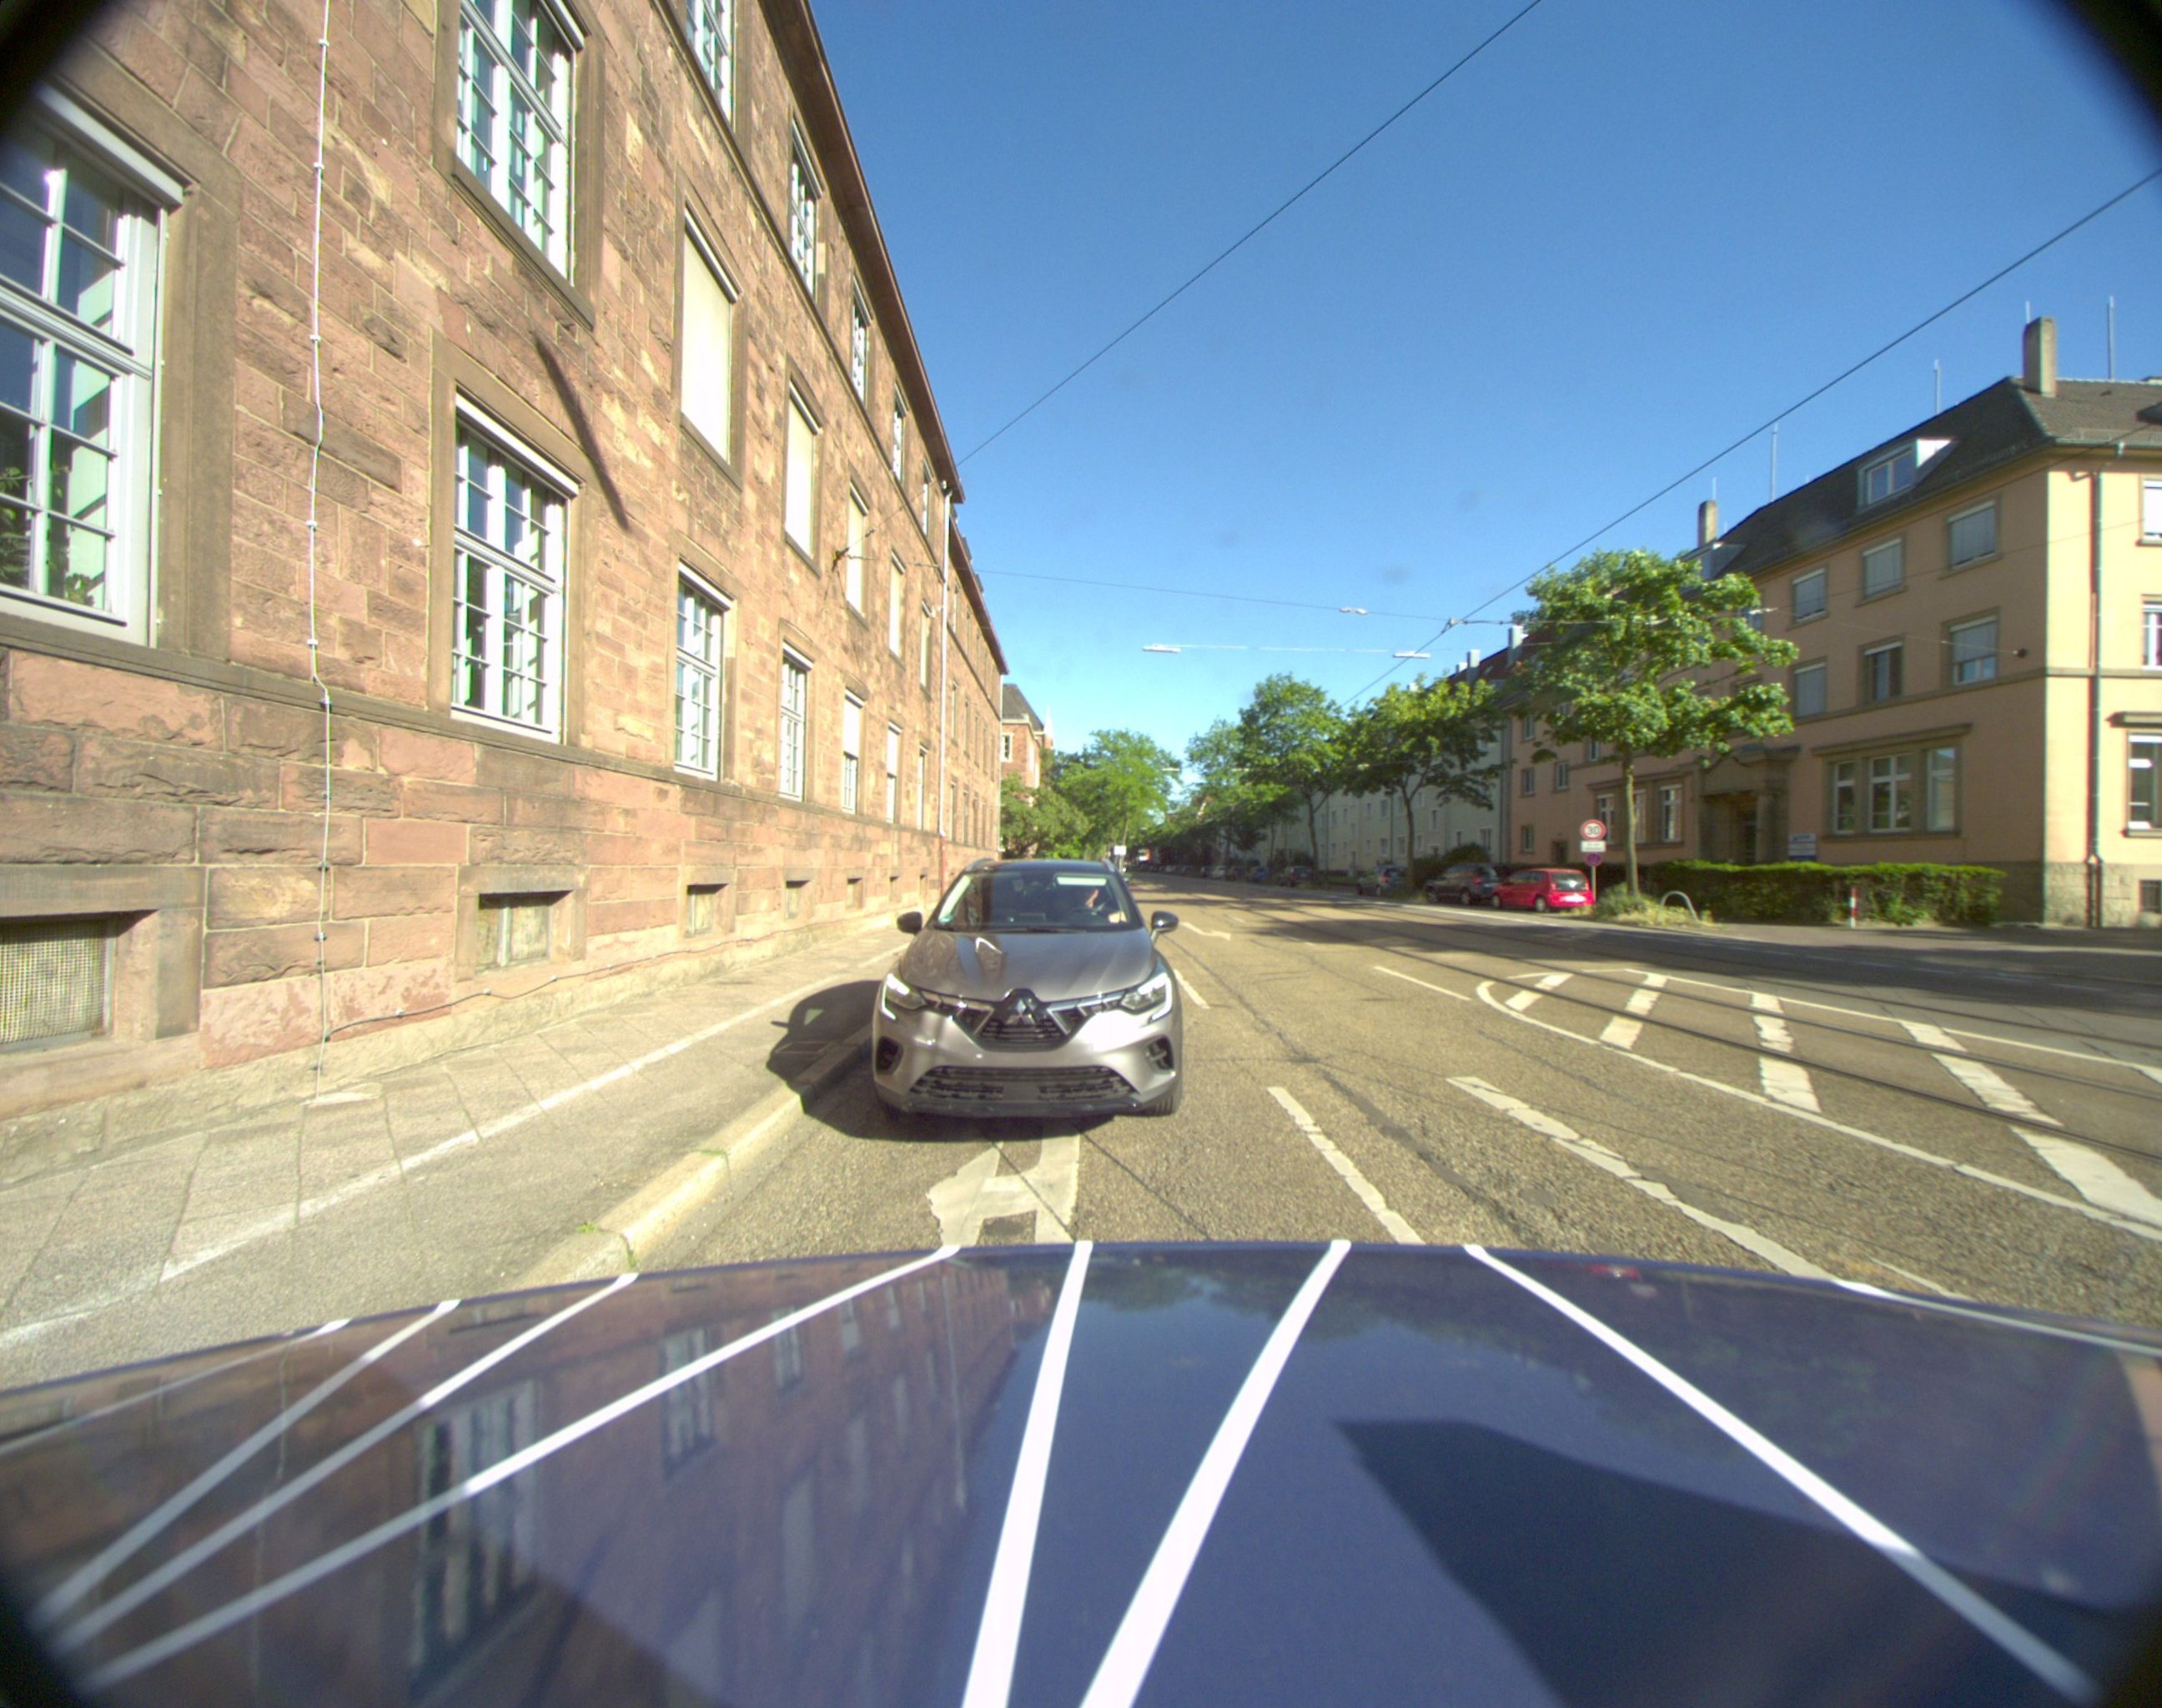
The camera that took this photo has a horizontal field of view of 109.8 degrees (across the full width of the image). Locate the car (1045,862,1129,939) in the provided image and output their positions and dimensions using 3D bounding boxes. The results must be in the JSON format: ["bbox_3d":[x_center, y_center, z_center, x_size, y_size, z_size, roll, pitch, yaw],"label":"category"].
[{"bbox_3d":[0.074,1.017,18.493,1.796,1.638,4.083,0,0,-2],"label":"car"}]

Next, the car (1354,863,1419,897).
[{"bbox_3d":[15.733,1.305,39.358,1.816,1.648,3.877,1,0,1],"label":"car"}]

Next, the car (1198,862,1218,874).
[{"bbox_3d":[15.848,1.760,94.859,1.816,1.411,3.630,1,0,-2],"label":"car"}]

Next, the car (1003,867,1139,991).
[{"bbox_3d":[-0.180,1.034,12.045,1.796,1.595,3.799,0,0,-2],"label":"car"}]

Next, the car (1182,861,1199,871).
[{"bbox_3d":[16.043,1.746,111.740,1.816,1.411,3.630,1,0,-2],"label":"car"}]

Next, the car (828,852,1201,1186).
[{"bbox_3d":[-0.365,0.810,5.593,1.796,1.595,3.799,0,0,-2],"label":"car"}]

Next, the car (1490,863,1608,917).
[{"bbox_3d":[15.855,1.170,25.940,1.816,1.696,3.374,1,0,-3],"label":"car"}]

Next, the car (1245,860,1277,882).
[{"bbox_3d":[15.974,1.476,67.496,1.816,1.814,3.795,1,0,-2],"label":"car"}]

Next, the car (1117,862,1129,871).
[{"bbox_3d":[7.442,2.151,135.077,1.912,1.510,4.000,1,0,-1],"label":"car"}]

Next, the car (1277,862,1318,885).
[{"bbox_3d":[15.792,1.432,55.603,1.816,1.589,3.630,1,0,-2],"label":"car"}]

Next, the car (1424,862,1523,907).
[{"bbox_3d":[15.645,1.174,30.549,1.816,1.648,3.819,1,0,-3],"label":"car"}]

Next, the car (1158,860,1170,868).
[{"bbox_3d":[15.982,1.853,146.877,1.816,1.514,3.630,1,0,-2],"label":"car"}]

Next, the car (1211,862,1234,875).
[{"bbox_3d":[16.032,1.671,85.932,1.816,1.411,3.630,1,0,-2],"label":"car"}]

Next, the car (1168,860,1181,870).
[{"bbox_3d":[16.592,1.944,135.240,1.816,1.768,3.630,1,0,-2],"label":"car"}]

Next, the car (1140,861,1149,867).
[{"bbox_3d":[16.076,2.424,191.239,1.816,1.411,3.630,1,0,-2],"label":"car"}]

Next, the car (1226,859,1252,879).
[{"bbox_3d":[15.903,1.533,76.573,1.816,1.929,3.630,1,0,-2],"label":"car"}]
